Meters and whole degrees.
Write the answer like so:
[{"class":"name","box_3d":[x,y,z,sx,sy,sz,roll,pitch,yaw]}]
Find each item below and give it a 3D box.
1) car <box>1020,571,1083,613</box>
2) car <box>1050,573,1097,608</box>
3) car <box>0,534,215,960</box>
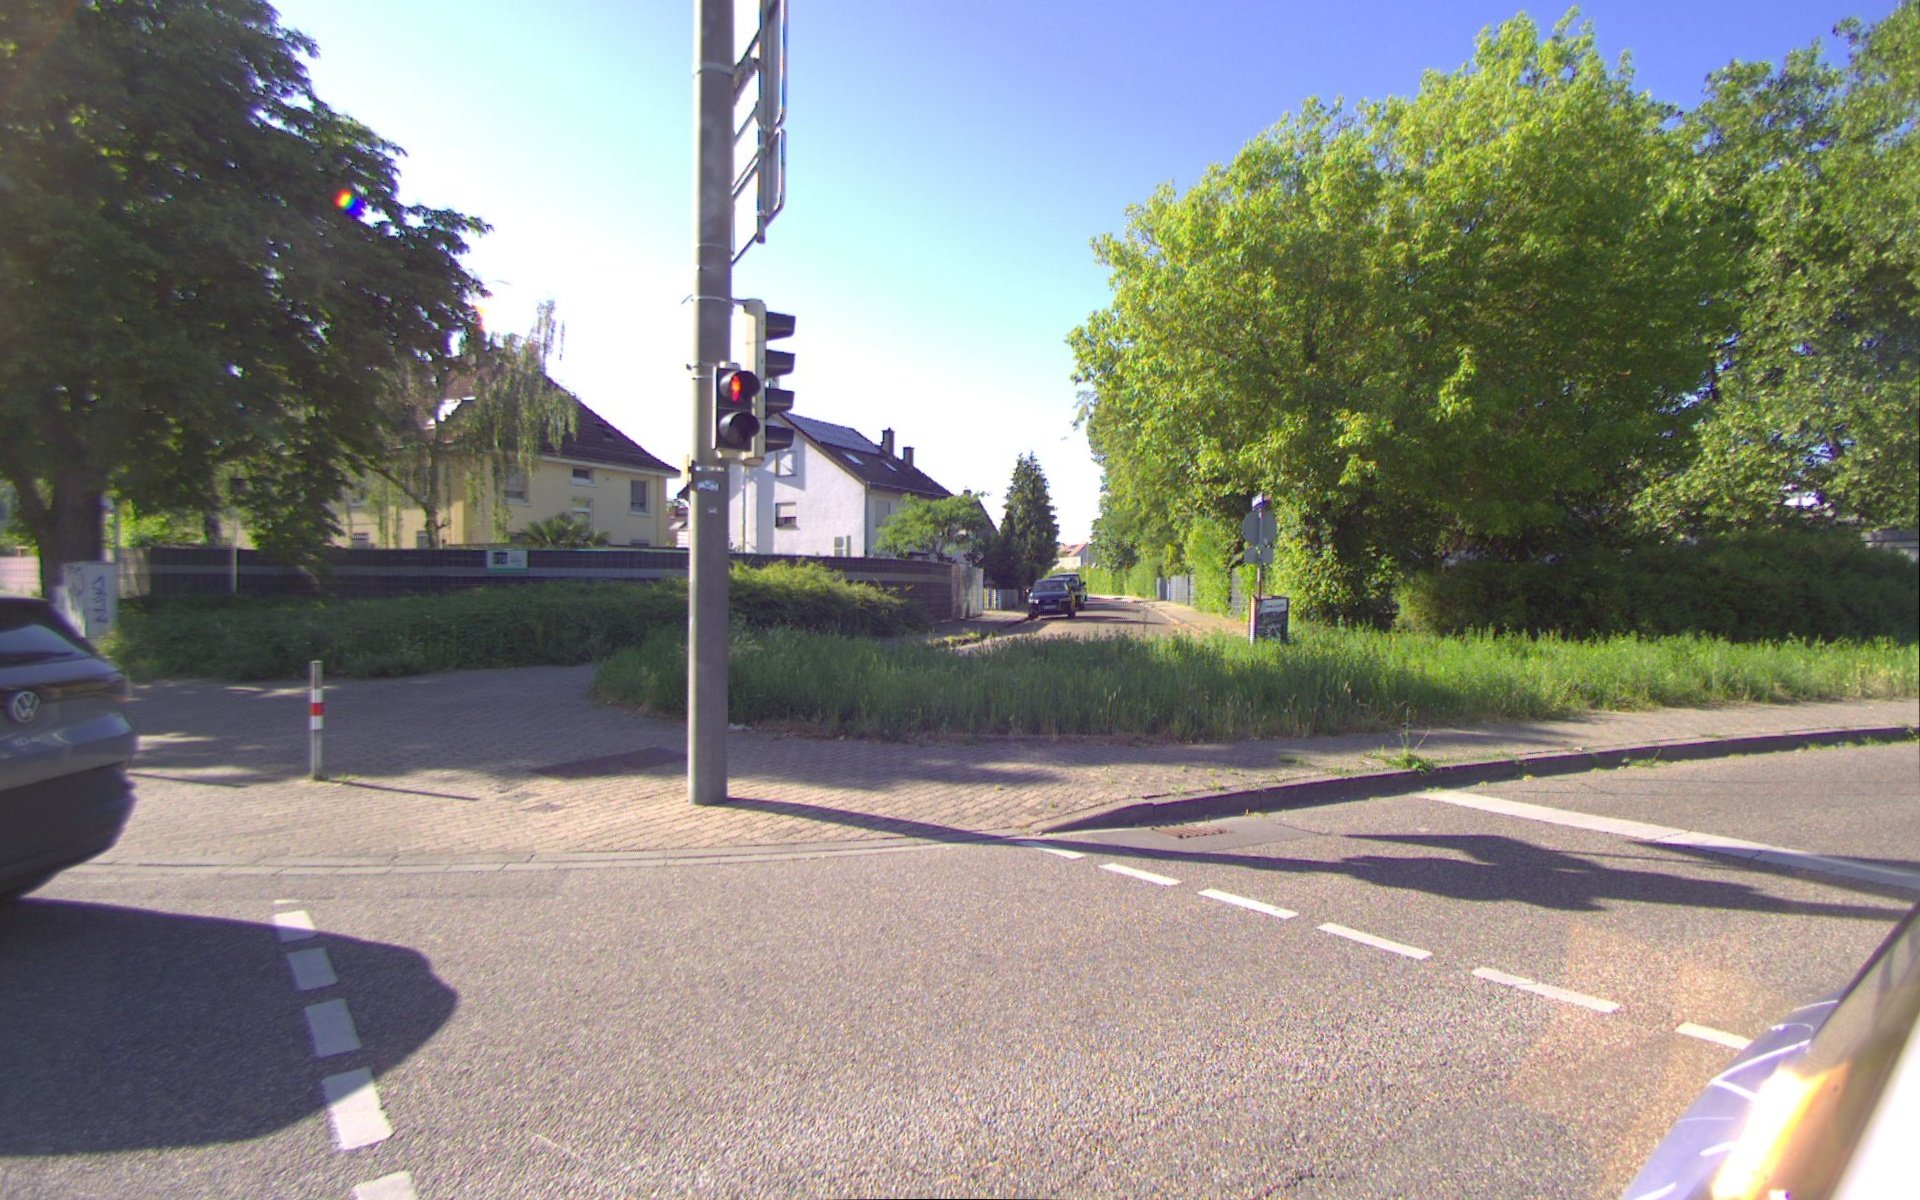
[{"class":"car","box_3d":[3.673,-0.329,40.054,1.970,1.576,3.985,-1,1,13]},{"class":"car","box_3d":[5.830,-0.489,51.714,1.934,1.687,3.985,-1,0,13]},{"class":"car","box_3d":[-5.816,0.552,4.123,4.174,1.655,1.863,1,0,-1]}]
